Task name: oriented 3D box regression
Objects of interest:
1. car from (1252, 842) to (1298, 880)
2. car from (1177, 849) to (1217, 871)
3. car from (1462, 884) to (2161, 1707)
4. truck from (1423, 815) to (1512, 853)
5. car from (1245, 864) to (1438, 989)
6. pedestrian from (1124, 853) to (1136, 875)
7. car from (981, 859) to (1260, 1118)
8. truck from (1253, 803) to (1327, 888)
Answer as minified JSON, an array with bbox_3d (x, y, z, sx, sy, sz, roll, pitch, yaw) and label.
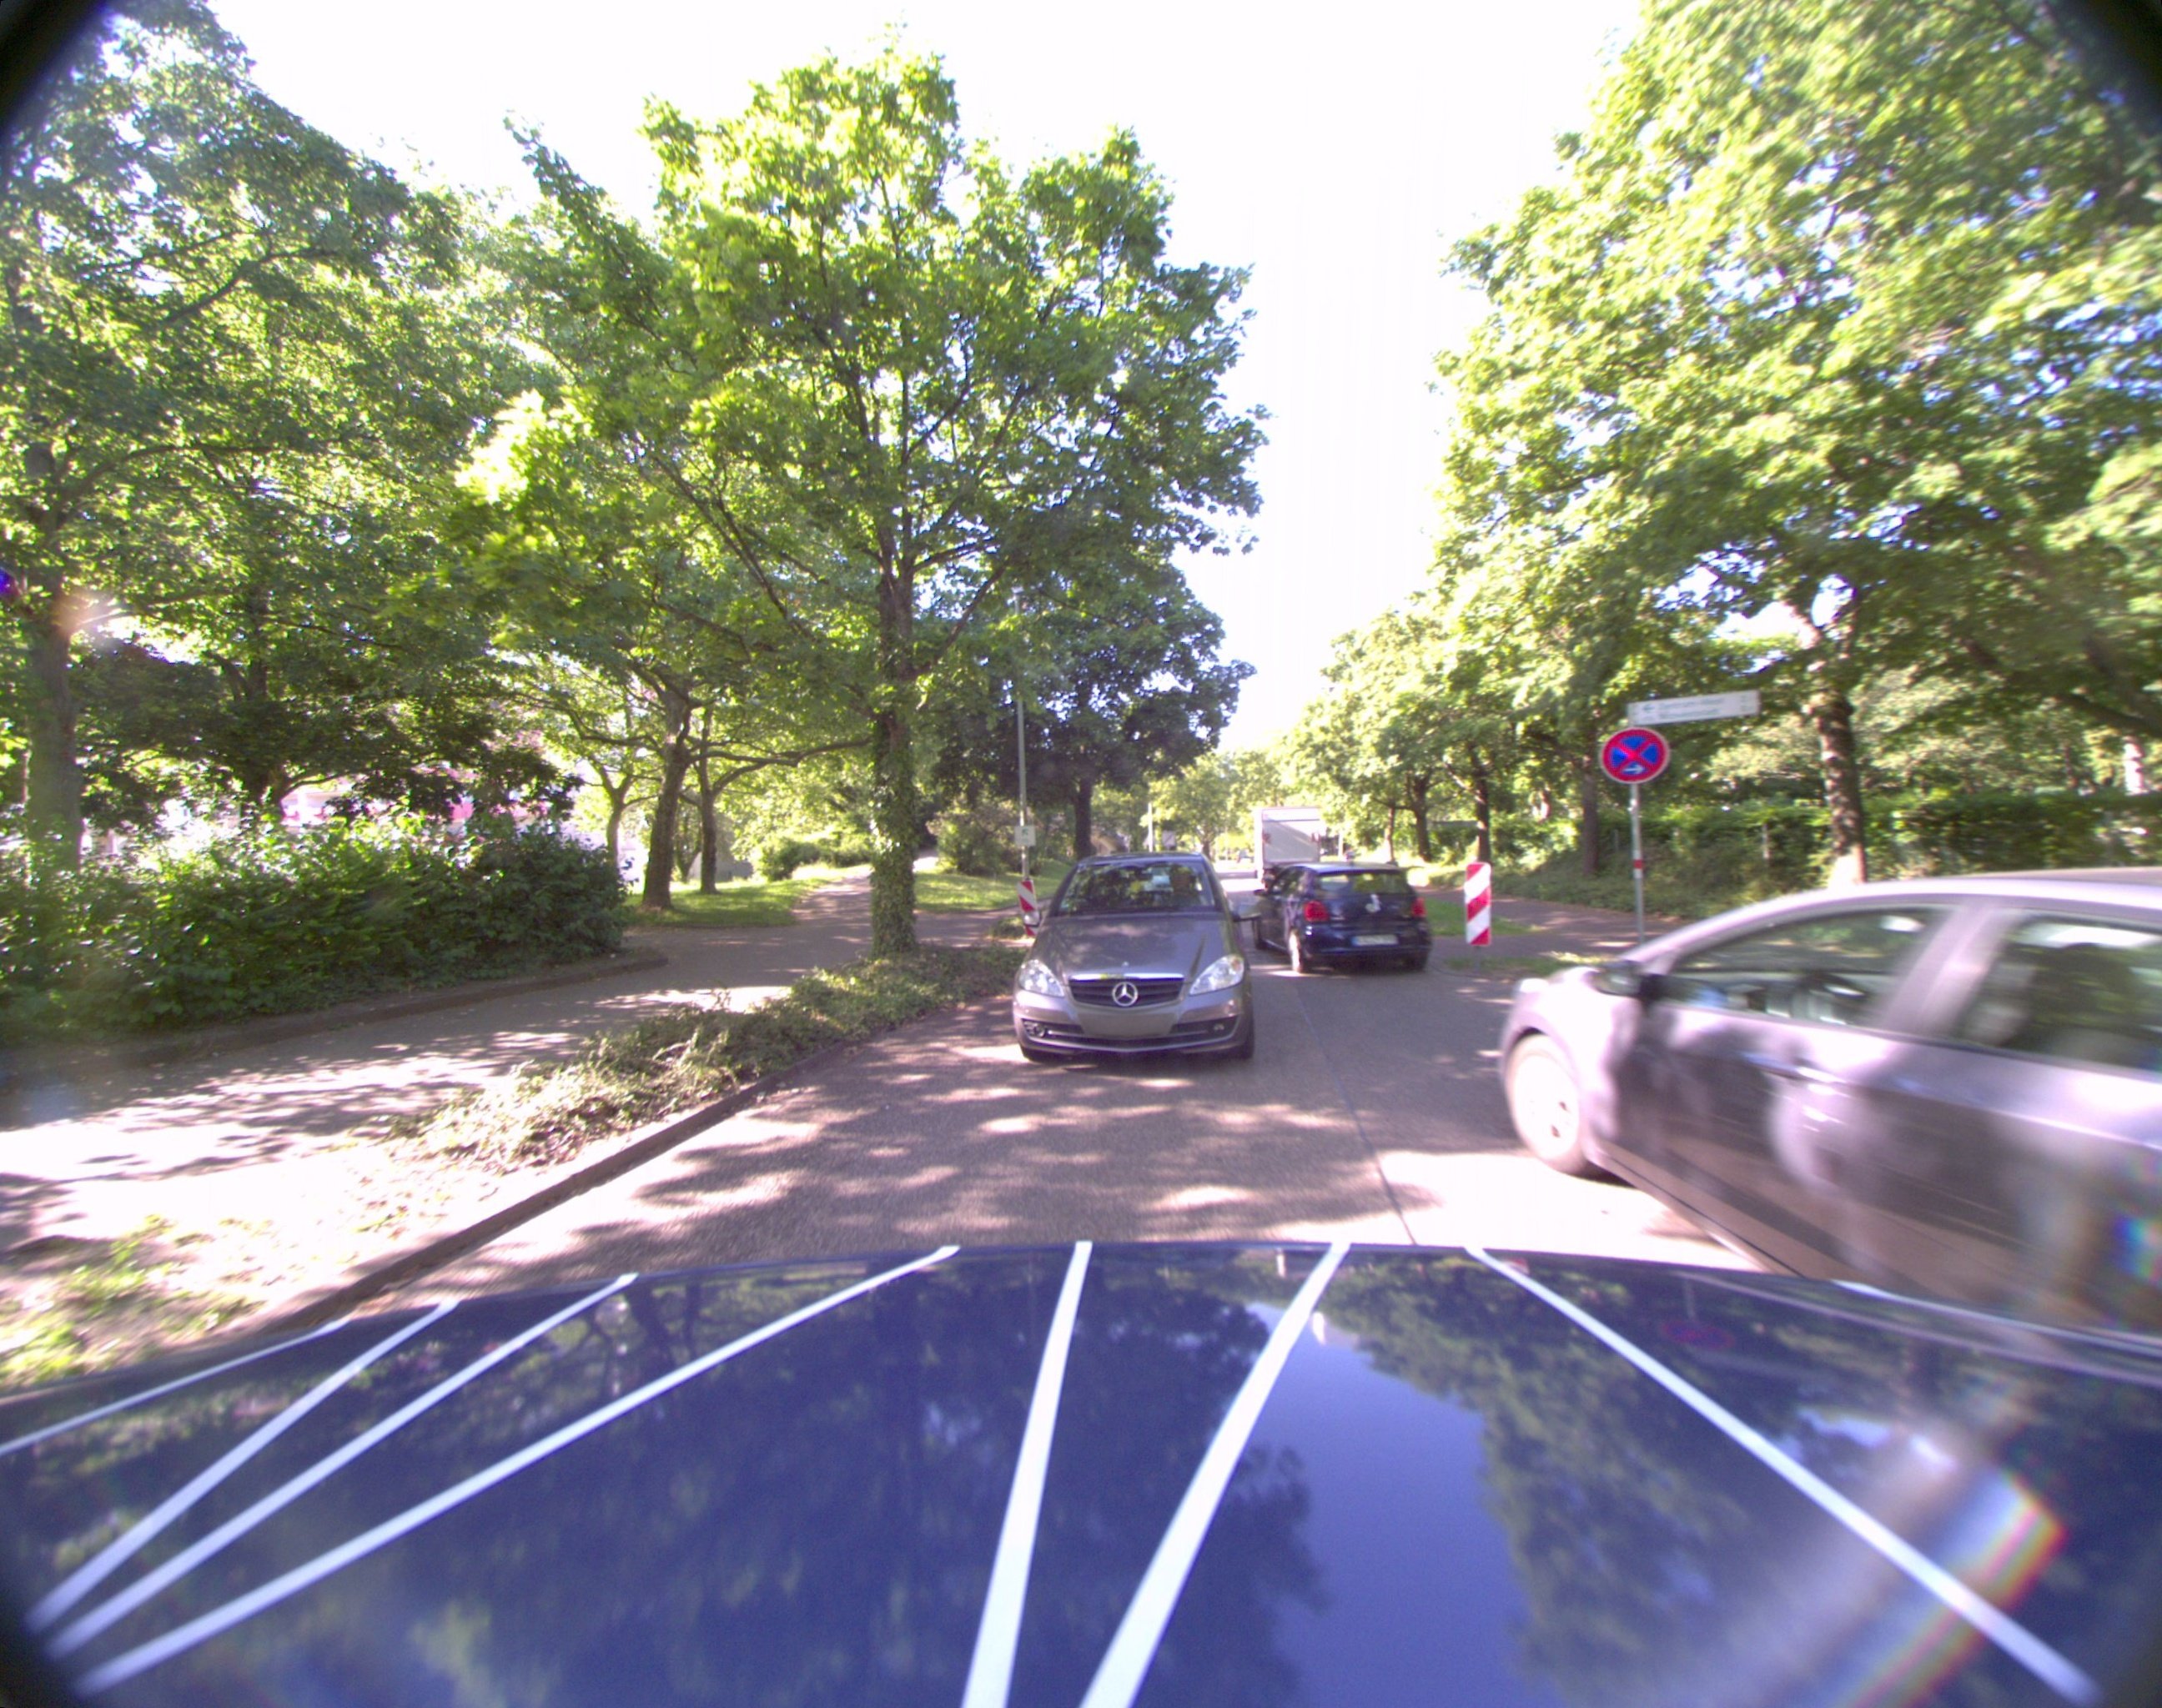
[{"bbox_3d":[11.918,0.408,47.086,2.123,2.083,6.589,-2,0,10],"label":"car"},{"bbox_3d":[11.479,0.628,75.712,2.002,2.002,3.993,-4,0,-24],"label":"car"},{"bbox_3d":[2.847,0.899,2.085,1.759,1.446,4.244,-1,0,5],"label":"car"},{"bbox_3d":[21.625,-1.087,42.680,3.994,2.002,2.205,-1,0,9],"label":"truck"},{"bbox_3d":[3.476,0.883,10.820,1.604,1.418,3.652,-1,0,2],"label":"car"},{"bbox_3d":[4.036,0.824,62.543,0.792,1.821,0.672,-2,0,11],"label":"pedestrian"},{"bbox_3d":[0.543,0.882,6.841,1.733,1.578,4.003,-2,0,9],"label":"car"},{"bbox_3d":[10.088,-0.384,37.407,2.739,3.620,8.107,-2,0,11],"label":"truck"}]
